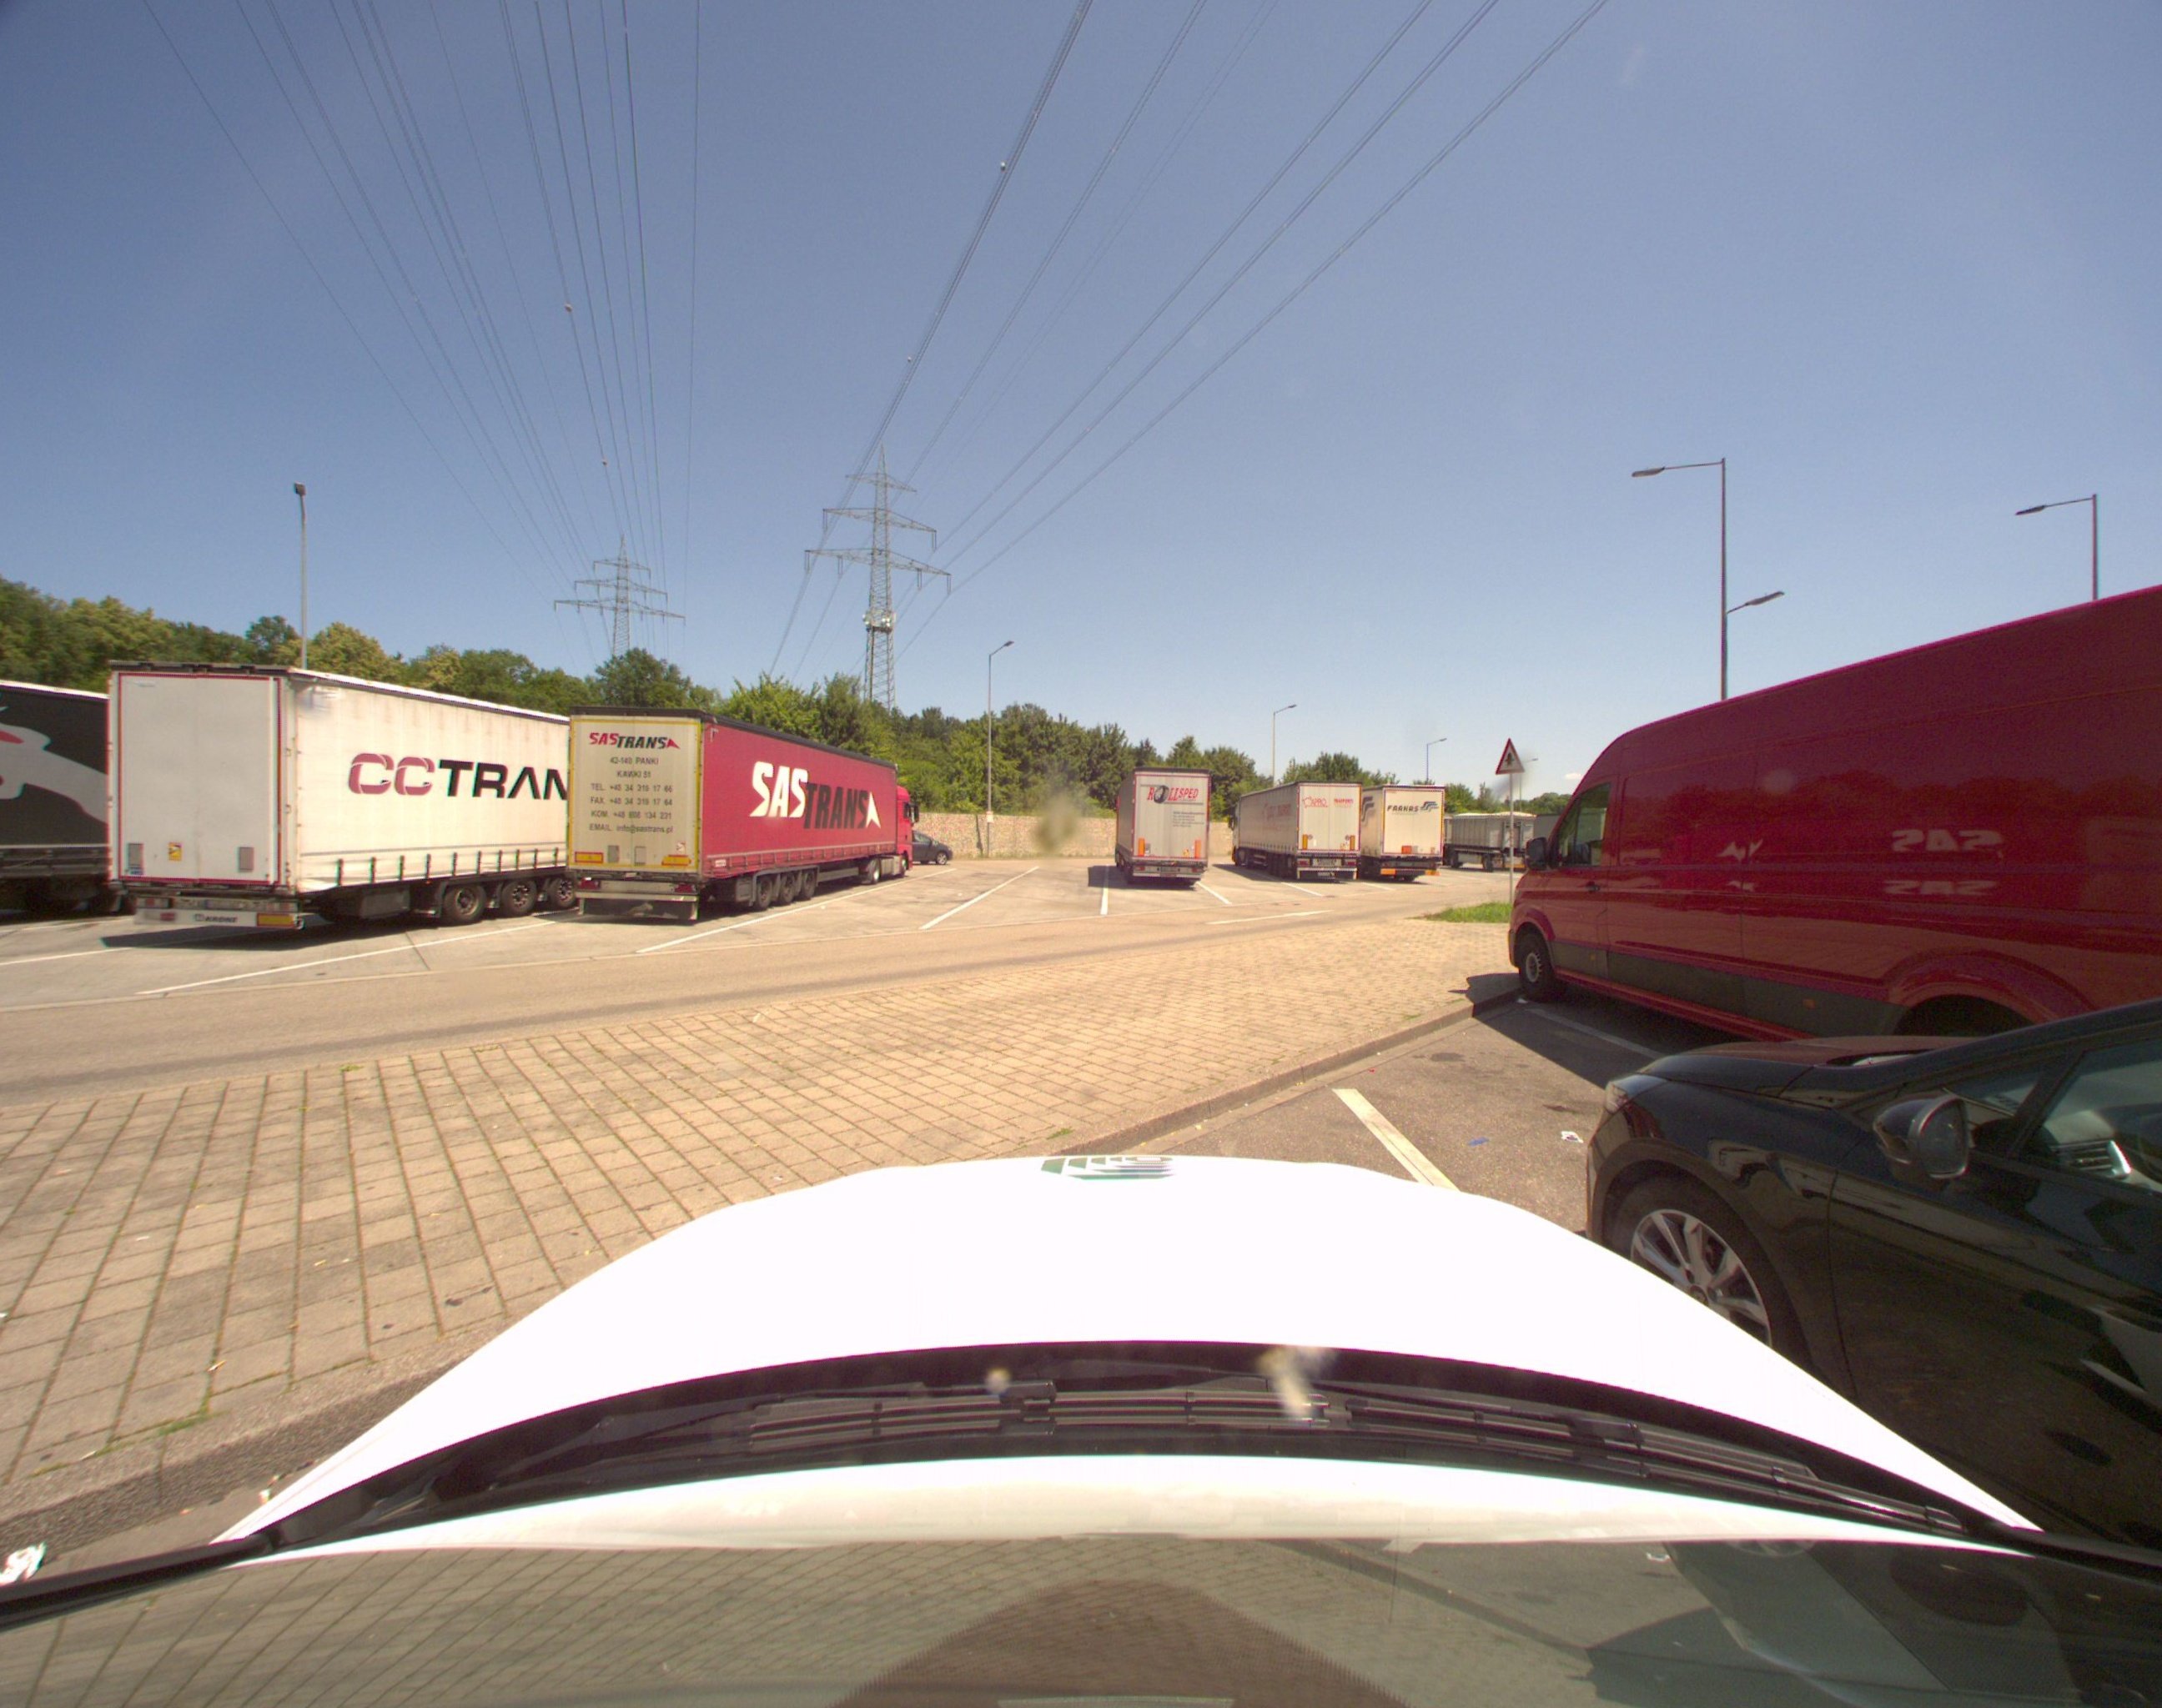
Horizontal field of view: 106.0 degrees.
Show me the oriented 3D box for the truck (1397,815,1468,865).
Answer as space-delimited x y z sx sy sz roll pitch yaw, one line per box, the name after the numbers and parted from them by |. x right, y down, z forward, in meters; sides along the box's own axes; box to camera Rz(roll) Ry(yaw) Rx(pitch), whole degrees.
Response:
24.915 -1.019 57.956 2.840 3.364 5.488 1 2 3 | truck

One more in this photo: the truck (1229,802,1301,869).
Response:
10.159 -1.044 45.438 2.841 3.483 5.486 1 1 2 | truck

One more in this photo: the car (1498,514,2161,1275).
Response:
5.157 0.093 5.494 2.055 2.695 6.405 -1 1 6 | car

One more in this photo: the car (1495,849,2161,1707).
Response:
2.514 0.760 1.184 1.733 1.482 3.813 -1 1 -3 | car

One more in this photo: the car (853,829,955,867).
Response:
-8.609 -0.289 39.768 4.535 1.708 1.766 0 3 -40 | car

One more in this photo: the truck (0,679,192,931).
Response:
-18.583 -0.825 13.567 2.692 4.016 4.327 1 2 2 | truck

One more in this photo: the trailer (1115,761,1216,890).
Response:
3.020 -1.117 33.300 2.896 4.132 13.727 1 2 1 | trailer

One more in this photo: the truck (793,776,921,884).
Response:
-7.805 -0.859 29.097 2.841 3.427 5.486 1 2 2 | truck

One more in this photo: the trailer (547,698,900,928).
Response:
-8.043 -0.972 21.660 2.896 4.131 13.731 1 2 2 | trailer

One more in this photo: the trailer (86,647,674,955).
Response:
-12.208 -0.908 16.332 2.718 4.209 10.176 1 2 2 | trailer

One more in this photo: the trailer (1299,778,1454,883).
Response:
13.607 -1.129 39.291 2.828 4.132 13.730 1 2 2 | trailer

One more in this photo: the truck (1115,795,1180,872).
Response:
3.164 -1.008 39.913 2.841 3.483 5.486 1 1 2 | truck

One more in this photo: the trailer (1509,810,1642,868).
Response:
38.369 -1.237 64.143 2.826 4.049 13.737 1 2 3 | trailer

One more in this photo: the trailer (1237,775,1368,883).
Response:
9.951 -1.166 38.627 2.828 4.132 13.730 1 2 2 | trailer

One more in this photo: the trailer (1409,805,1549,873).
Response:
24.526 -1.007 51.458 2.826 3.717 13.737 1 2 3 | trailer
